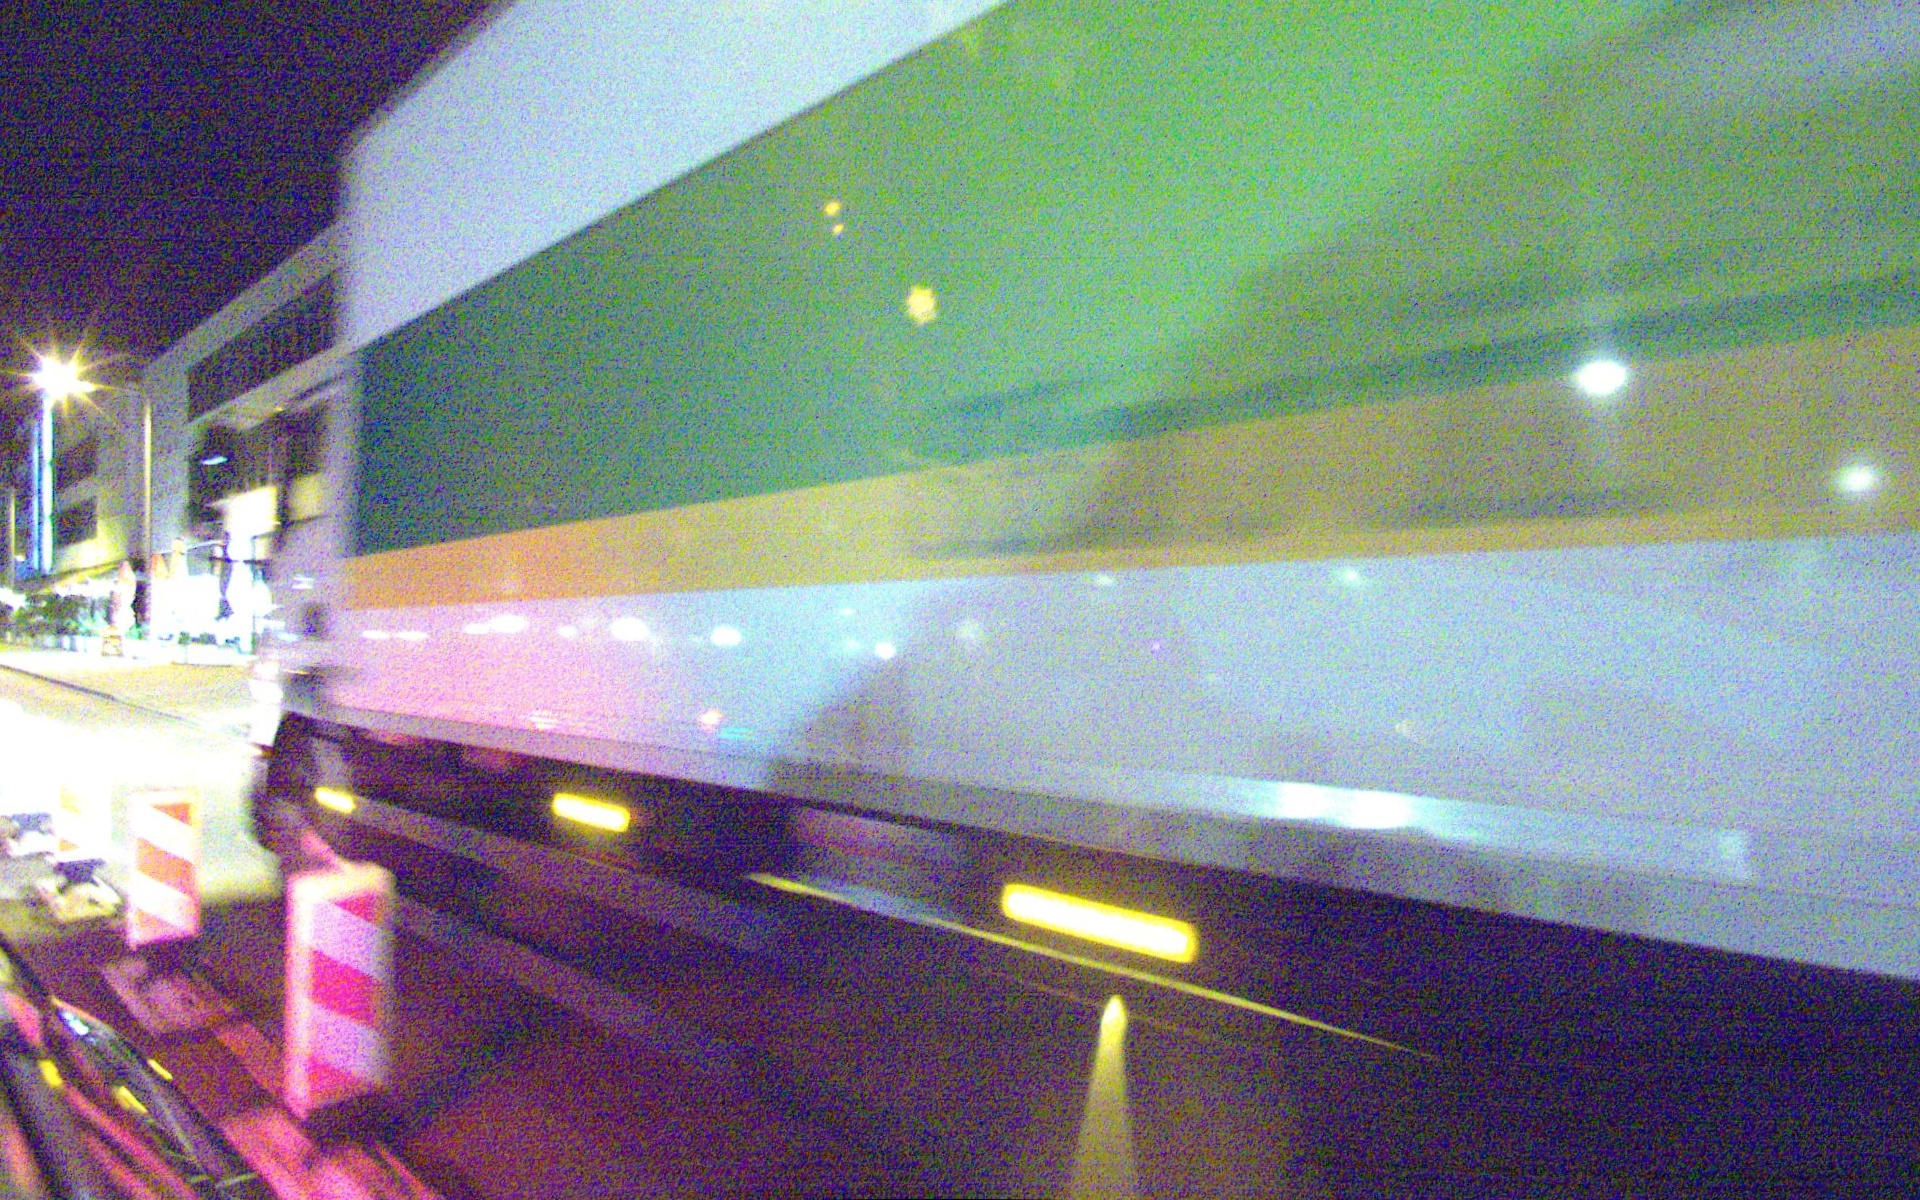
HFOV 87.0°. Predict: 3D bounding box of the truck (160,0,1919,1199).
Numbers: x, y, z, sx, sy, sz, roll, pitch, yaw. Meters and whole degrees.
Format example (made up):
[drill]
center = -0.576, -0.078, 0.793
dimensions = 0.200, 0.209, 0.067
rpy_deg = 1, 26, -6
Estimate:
[truck]
center = 0.341, -0.427, 3.199
dimensions = 10.109, 3.746, 2.726
rpy_deg = -1, -3, 42
